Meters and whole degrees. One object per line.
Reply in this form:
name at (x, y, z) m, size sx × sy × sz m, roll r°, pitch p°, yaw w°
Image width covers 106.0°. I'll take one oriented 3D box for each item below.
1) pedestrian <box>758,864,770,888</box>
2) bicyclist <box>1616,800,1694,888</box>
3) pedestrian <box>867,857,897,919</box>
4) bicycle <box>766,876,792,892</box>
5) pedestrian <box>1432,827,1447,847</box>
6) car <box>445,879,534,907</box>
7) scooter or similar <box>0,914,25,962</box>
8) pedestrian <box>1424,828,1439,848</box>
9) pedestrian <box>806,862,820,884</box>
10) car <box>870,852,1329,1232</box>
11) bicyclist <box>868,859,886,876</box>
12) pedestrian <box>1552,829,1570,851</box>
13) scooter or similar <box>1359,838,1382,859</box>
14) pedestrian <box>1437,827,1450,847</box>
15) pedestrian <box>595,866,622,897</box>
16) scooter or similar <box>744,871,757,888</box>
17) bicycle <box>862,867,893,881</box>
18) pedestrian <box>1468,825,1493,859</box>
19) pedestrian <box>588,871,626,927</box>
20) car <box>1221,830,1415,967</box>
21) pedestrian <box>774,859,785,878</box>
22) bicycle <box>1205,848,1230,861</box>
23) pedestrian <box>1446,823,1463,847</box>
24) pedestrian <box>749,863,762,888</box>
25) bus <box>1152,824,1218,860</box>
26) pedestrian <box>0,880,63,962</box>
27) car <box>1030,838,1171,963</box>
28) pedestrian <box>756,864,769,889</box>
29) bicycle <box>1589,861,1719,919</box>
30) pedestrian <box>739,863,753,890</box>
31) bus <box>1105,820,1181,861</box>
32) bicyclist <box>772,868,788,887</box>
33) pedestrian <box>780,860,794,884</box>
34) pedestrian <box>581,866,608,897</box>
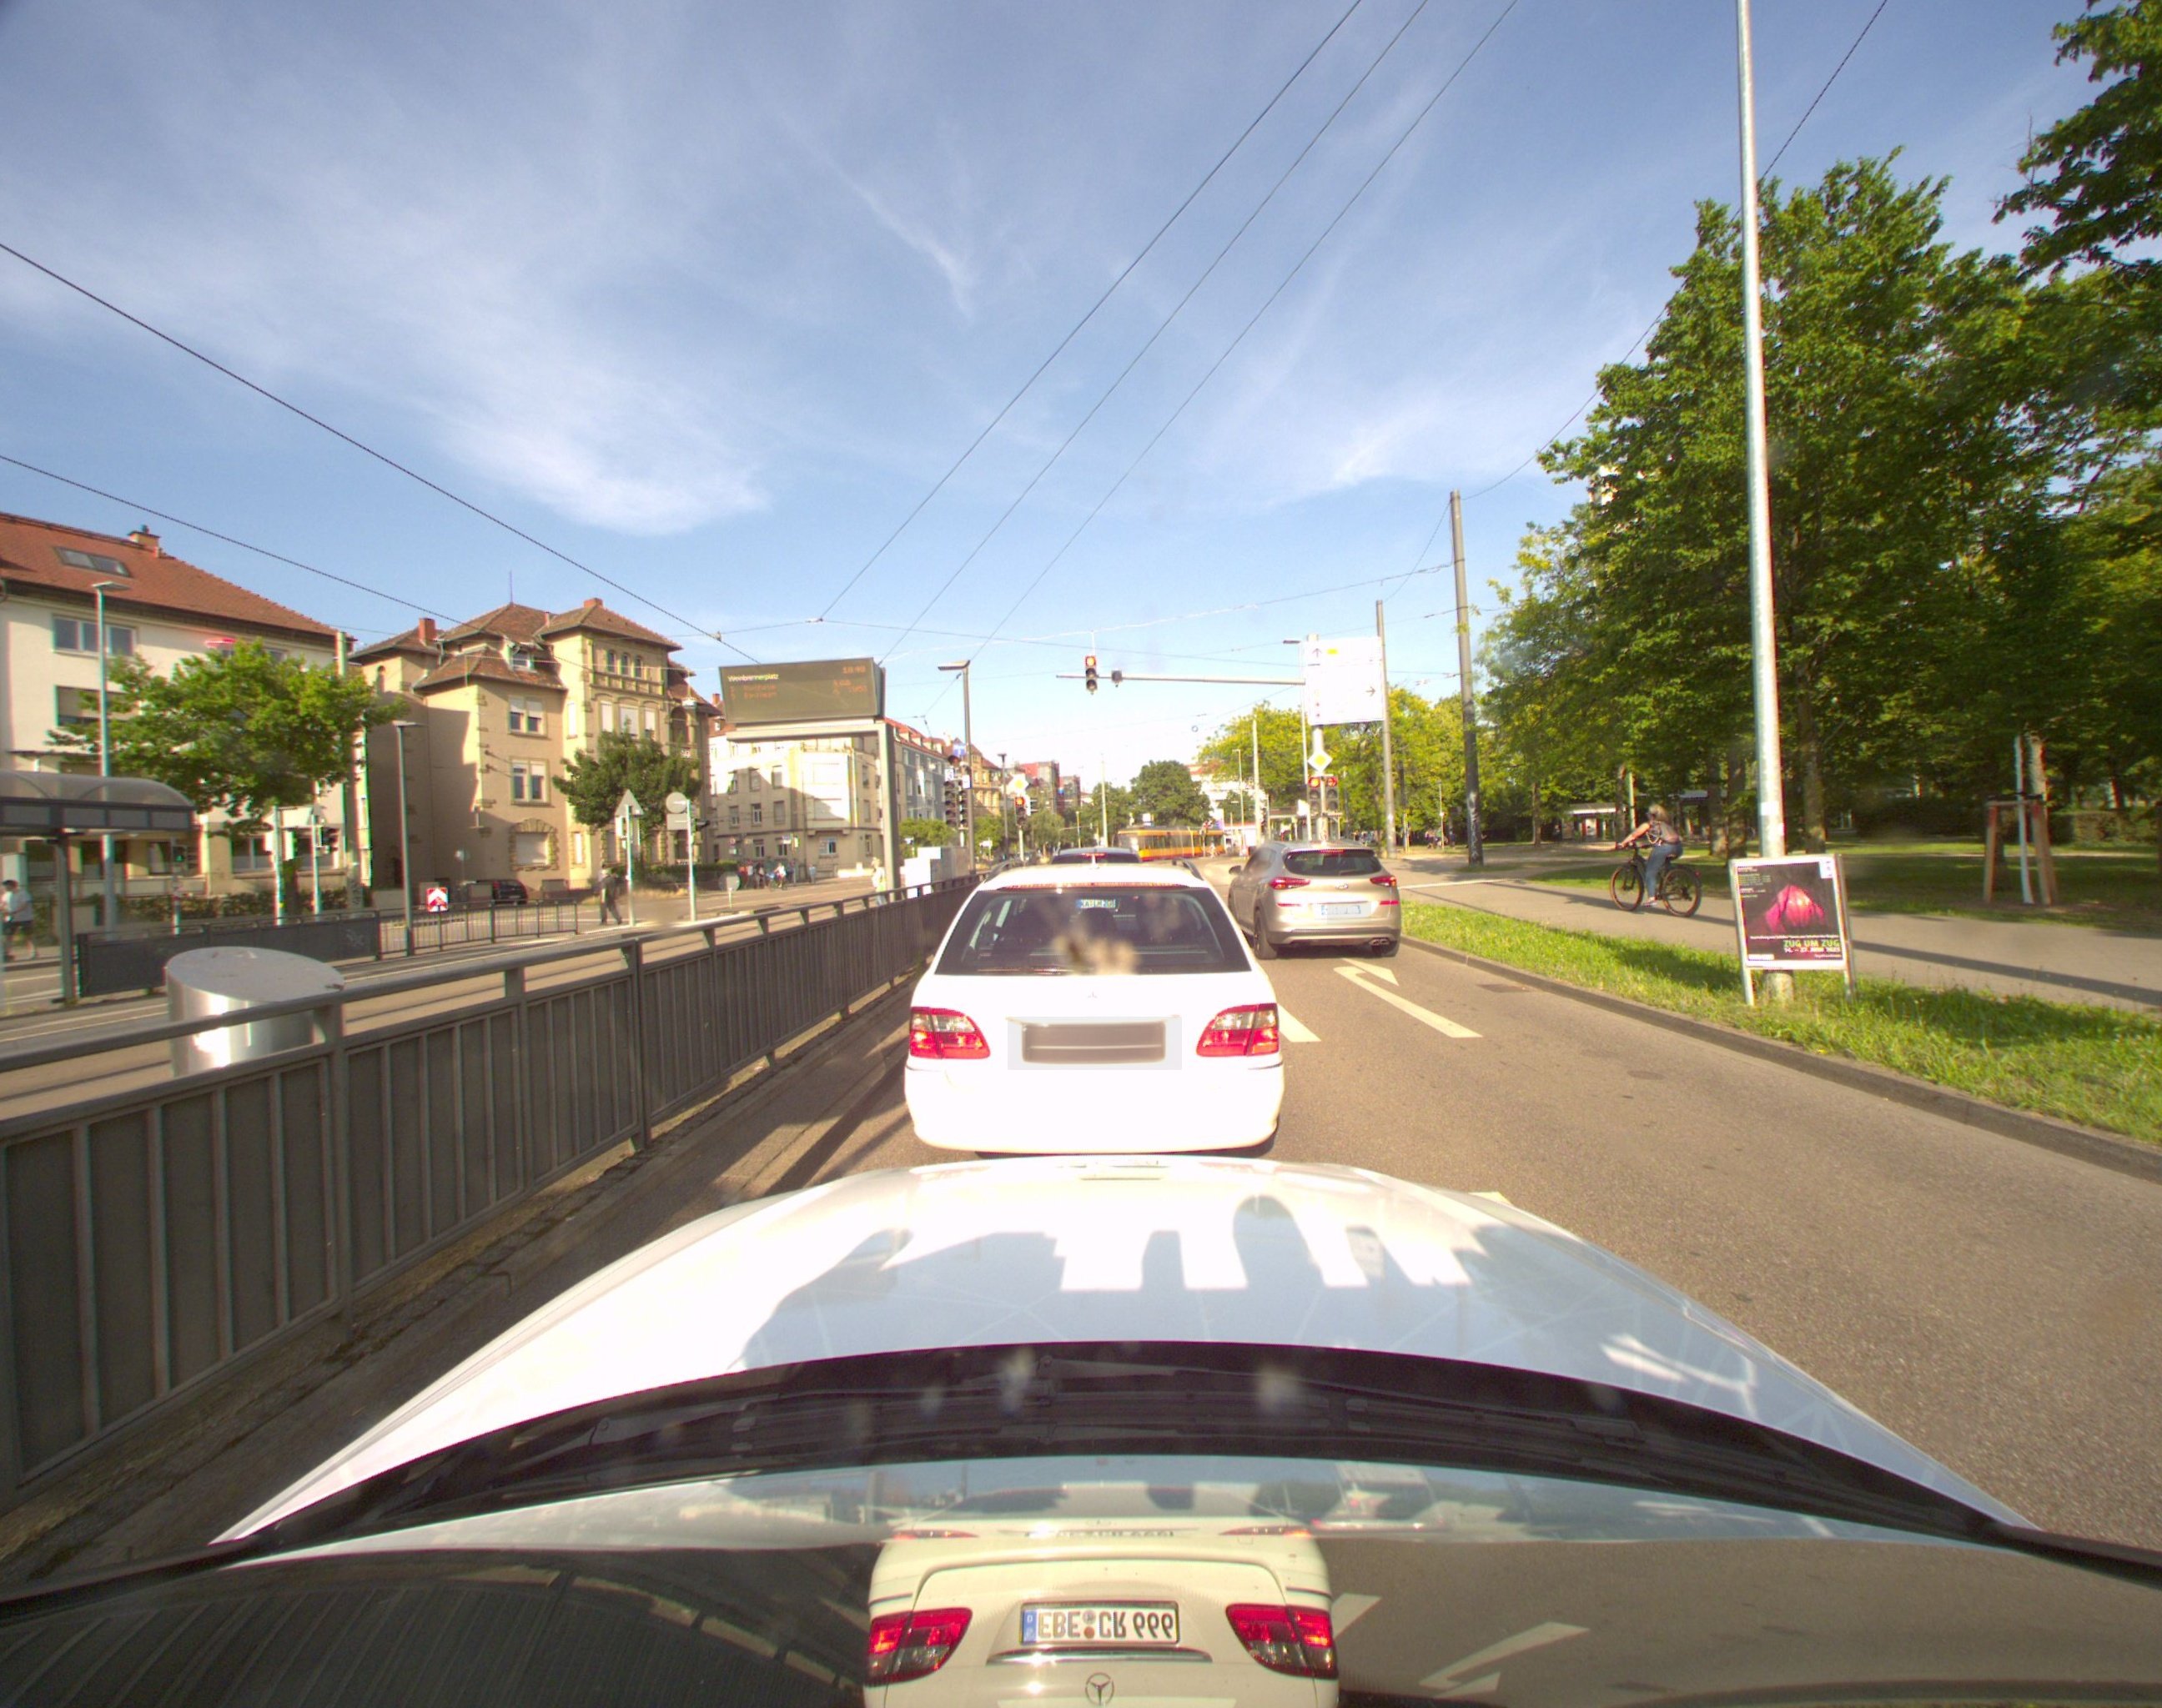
pedestrian at (-19.721, 1.371, 50.664) m, size 0.434 × 1.500 × 0.551 m, roll -3°, pitch 0°, yaw 16°
bicyclist at (8.701, -0.153, 12.374) m, size 0.532 × 1.262 × 0.869 m, roll -3°, pitch 0°, yaw 2°
pedestrian at (-5.299, 0.890, 21.727) m, size 0.611 × 1.599 × 0.632 m, roll -3°, pitch 0°, yaw -5°
bicycle at (-17.605, 1.751, 47.517) m, size 0.522 × 0.834 × 1.693 m, roll -3°, pitch 0°, yaw 14°
pedestrian at (28.102, -1.321, 63.878) m, size 0.813 × 1.487 × 0.698 m, roll -3°, pitch 0°, yaw -9°
car at (-29.456, 1.914, 40.560) m, size 4.066 × 1.310 × 1.774 m, roll -1°, pitch -1°, yaw 24°
scooter or similar at (-23.309, 1.820, 17.227) m, size 0.554 × 0.988 × 1.023 m, roll -3°, pitch 0°, yaw 0°
pedestrian at (27.253, -1.238, 63.289) m, size 0.820 × 1.487 × 0.692 m, roll -3°, pitch 0°, yaw -40°
pedestrian at (-19.253, 1.375, 58.500) m, size 0.626 × 1.541 × 0.711 m, roll -3°, pitch 0°, yaw 1°
car at (0.125, 0.742, 5.045) m, size 1.789 × 1.470 × 3.649 m, roll -1°, pitch 0°, yaw 2°
bicyclist at (-15.212, 1.001, 60.647) m, size 0.757 × 1.262 × 1.179 m, roll -3°, pitch 0°, yaw 17°
pedestrian at (35.869, -1.036, 60.839) m, size 0.831 × 1.636 × 0.804 m, roll -3°, pitch 0°, yaw 8°
scooter or similar at (16.148, -0.287, 45.418) m, size 0.421 × 1.117 × 1.322 m, roll -3°, pitch 0°, yaw -18°
pedestrian at (27.766, -1.300, 62.373) m, size 0.805 × 1.487 × 0.705 m, roll -3°, pitch 0°, yaw 26°
pedestrian at (-24.407, 1.417, 42.069) m, size 0.822 × 1.552 × 0.786 m, roll -3°, pitch 0°, yaw 23°
scooter or similar at (-20.806, 1.598, 51.288) m, size 0.541 × 1.079 × 0.683 m, roll -1°, pitch -1°, yaw 1°
bicycle at (-15.158, 1.480, 60.671) m, size 0.778 × 0.914 × 3.011 m, roll -3°, pitch 0°, yaw 17°
pedestrian at (20.040, -0.590, 40.834) m, size 0.758 × 1.636 × 0.800 m, roll -3°, pitch 0°, yaw -38°
pedestrian at (-14.399, 1.350, 24.752) m, size 0.798 × 1.645 × 0.748 m, roll -3°, pitch 0°, yaw -42°
car at (3.332, 0.567, 12.198) m, size 1.878 × 1.651 × 3.649 m, roll -3°, pitch 0°, yaw 2°
pedestrian at (-26.506, 1.269, 71.680) m, size 0.615 × 1.660 × 0.589 m, roll -3°, pitch 0°, yaw 17°
bicycle at (14.235, 0.049, 84.991) m, size 2.467 × 1.213 × 0.809 m, roll -3°, pitch 0°, yaw 9°
pedestrian at (29.117, -1.475, 63.498) m, size 0.797 × 1.785 × 0.838 m, roll -3°, pitch 0°, yaw -2°
pedestrian at (-20.258, 1.352, 50.742) m, size 0.434 × 1.500 × 0.551 m, roll -3°, pitch 0°, yaw 16°
bus at (11.539, -1.178, 88.691) m, size 3.080 × 3.606 × 12.664 m, roll -1°, pitch -1°, yaw 26°
pedestrian at (-23.436, 1.468, 18.106) m, size 0.546 × 1.746 × 0.763 m, roll -3°, pitch 0°, yaw -2°
car at (0.321, 0.619, 12.715) m, size 1.878 × 1.651 × 3.649 m, roll 0°, pitch 0°, yaw 2°
pedestrian at (-20.155, 1.423, 51.521) m, size 0.530 × 1.500 × 0.391 m, roll -3°, pitch 0°, yaw 16°
bicycle at (8.734, 0.510, 12.536) m, size 0.493 × 0.757 × 2.169 m, roll -4°, pitch 0°, yaw 2°
pedestrian at (-20.798, 1.412, 50.573) m, size 0.506 × 1.626 × 0.609 m, roll -3°, pitch 0°, yaw 3°
bus at (6.140, -1.169, 77.366) m, size 3.080 × 3.606 × 12.445 m, roll -1°, pitch -1°, yaw 24°
bicyclist at (-17.607, 1.377, 47.616) m, size 0.509 × 1.044 × 0.682 m, roll -3°, pitch 0°, yaw 13°
pedestrian at (-26.160, 1.604, 72.564) m, size 0.768 × 2.013 × 0.790 m, roll -3°, pitch 0°, yaw 17°
pedestrian at (-25.310, 1.445, 42.385) m, size 0.822 × 1.552 × 0.786 m, roll -3°, pitch 0°, yaw 23°
